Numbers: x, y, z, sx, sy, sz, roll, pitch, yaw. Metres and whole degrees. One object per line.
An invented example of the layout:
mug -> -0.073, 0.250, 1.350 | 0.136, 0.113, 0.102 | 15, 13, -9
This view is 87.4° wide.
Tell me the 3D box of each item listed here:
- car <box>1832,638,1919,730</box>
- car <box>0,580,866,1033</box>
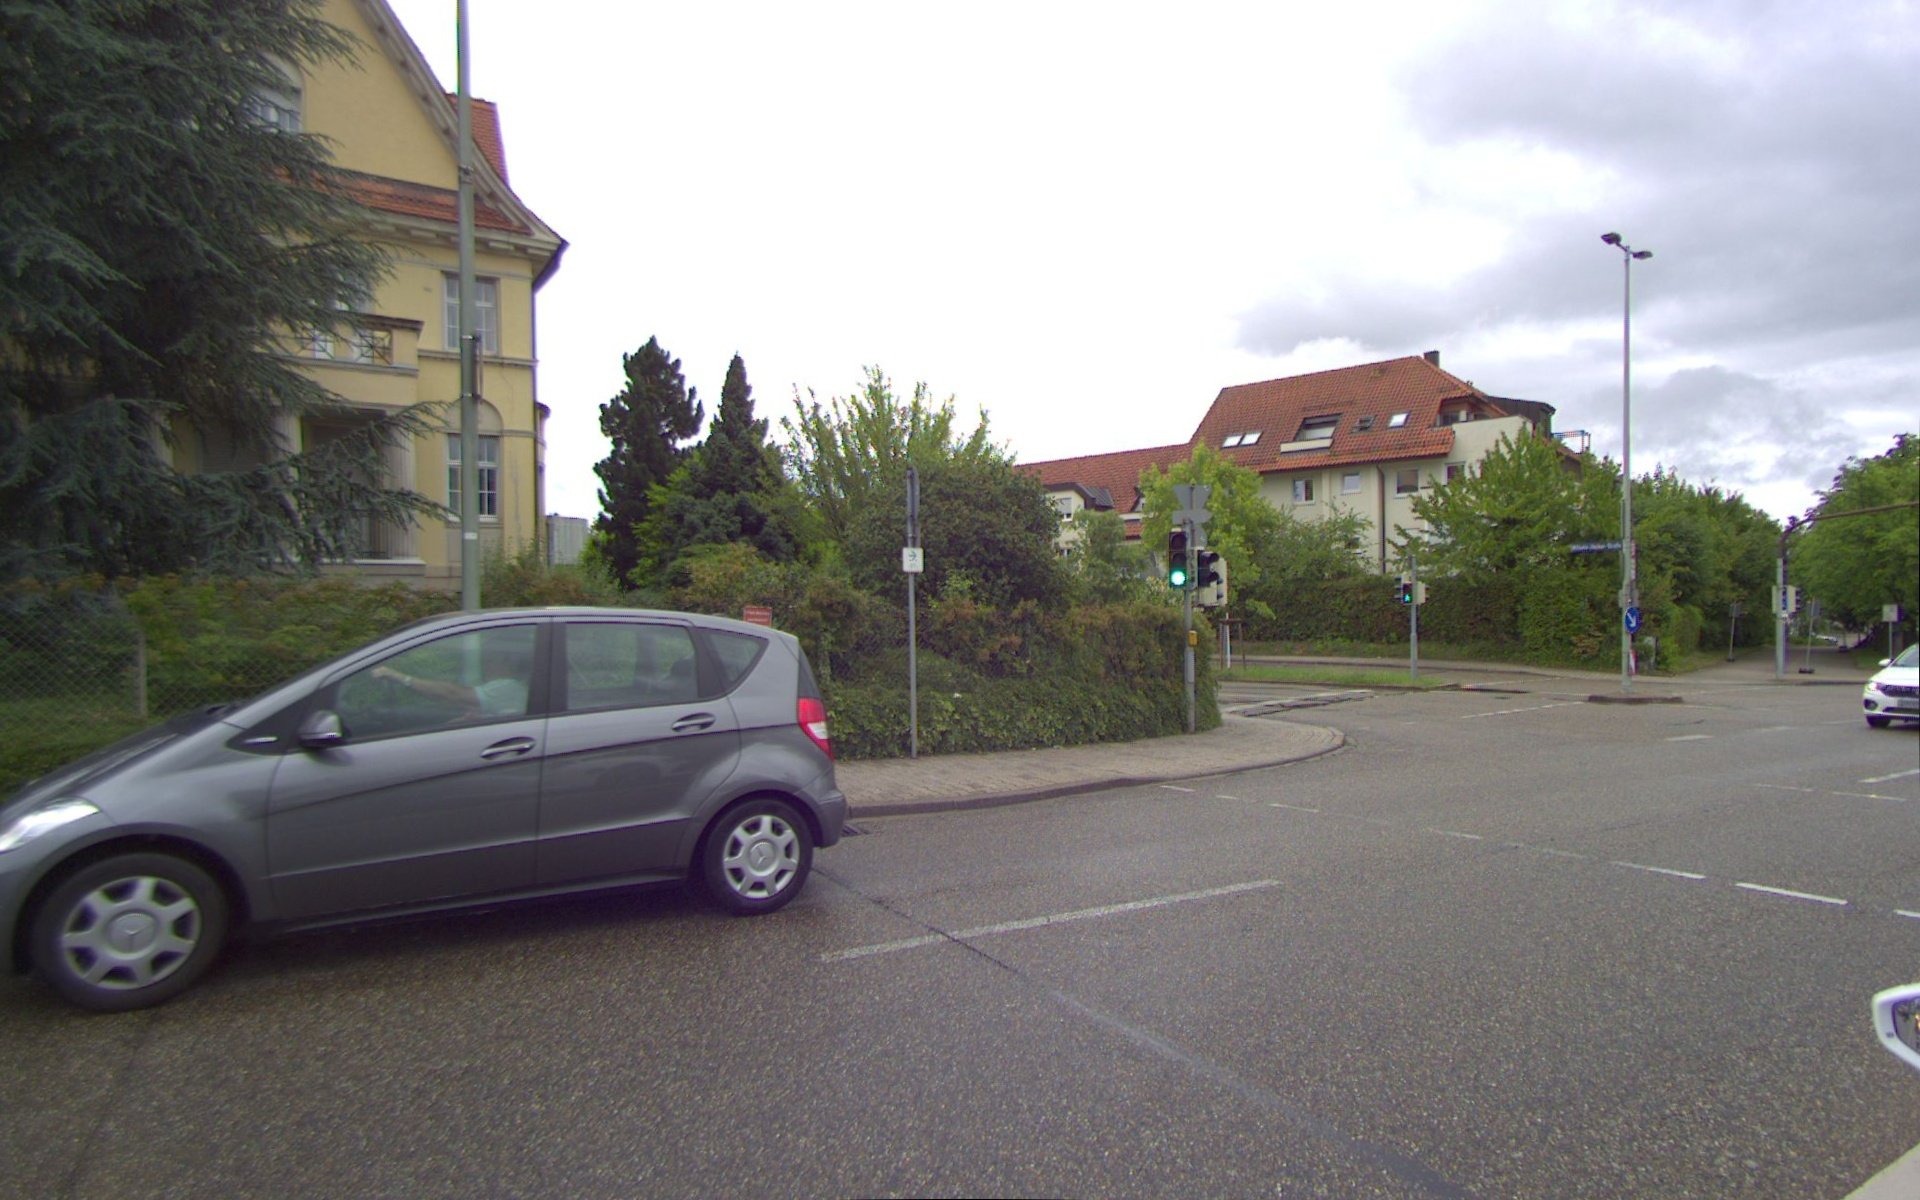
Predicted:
car -> 17.104, 1.399, 17.279 | 4.259, 1.473, 1.958 | 2, -2, -31
car -> -2.436, 0.800, 5.241 | 3.510, 1.620, 1.690 | 1, -2, -32
